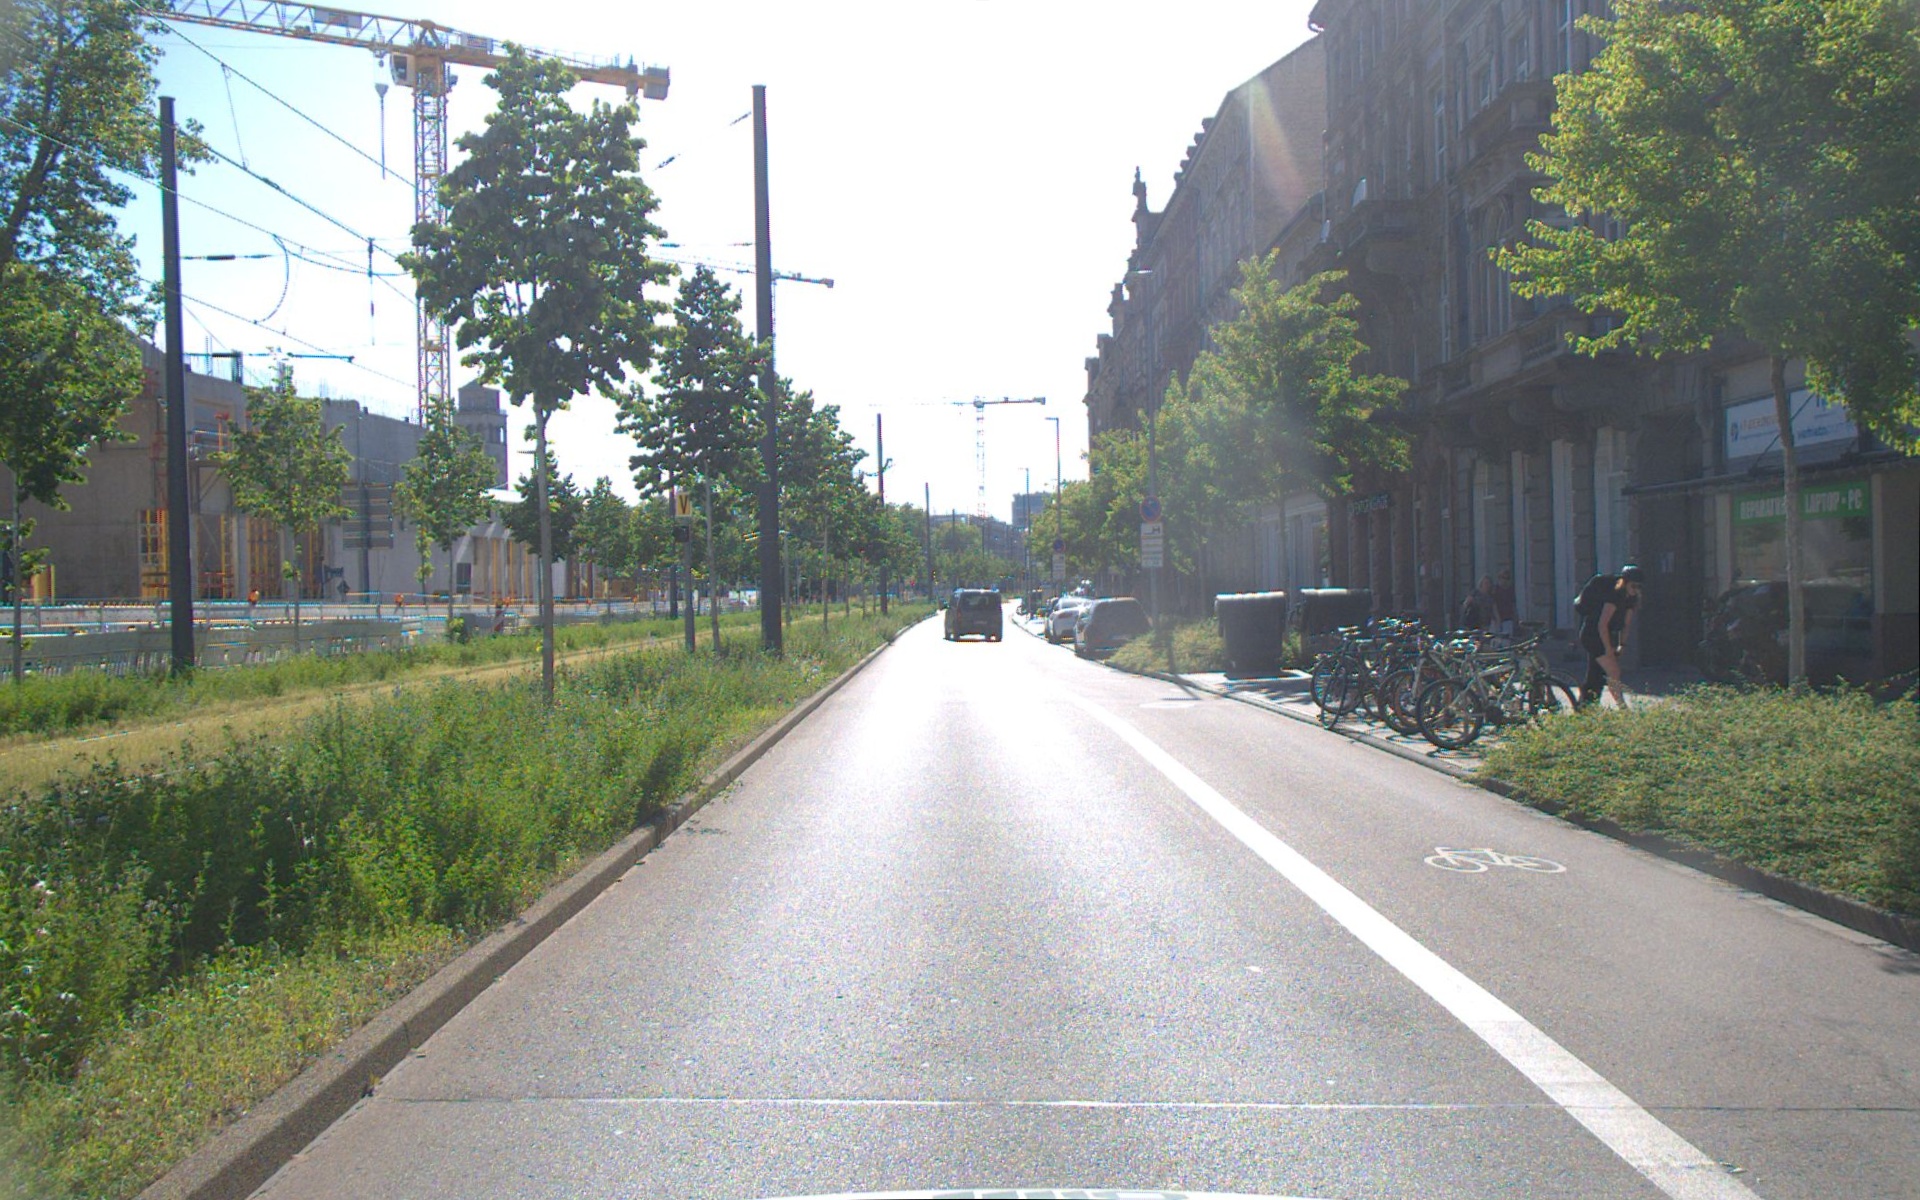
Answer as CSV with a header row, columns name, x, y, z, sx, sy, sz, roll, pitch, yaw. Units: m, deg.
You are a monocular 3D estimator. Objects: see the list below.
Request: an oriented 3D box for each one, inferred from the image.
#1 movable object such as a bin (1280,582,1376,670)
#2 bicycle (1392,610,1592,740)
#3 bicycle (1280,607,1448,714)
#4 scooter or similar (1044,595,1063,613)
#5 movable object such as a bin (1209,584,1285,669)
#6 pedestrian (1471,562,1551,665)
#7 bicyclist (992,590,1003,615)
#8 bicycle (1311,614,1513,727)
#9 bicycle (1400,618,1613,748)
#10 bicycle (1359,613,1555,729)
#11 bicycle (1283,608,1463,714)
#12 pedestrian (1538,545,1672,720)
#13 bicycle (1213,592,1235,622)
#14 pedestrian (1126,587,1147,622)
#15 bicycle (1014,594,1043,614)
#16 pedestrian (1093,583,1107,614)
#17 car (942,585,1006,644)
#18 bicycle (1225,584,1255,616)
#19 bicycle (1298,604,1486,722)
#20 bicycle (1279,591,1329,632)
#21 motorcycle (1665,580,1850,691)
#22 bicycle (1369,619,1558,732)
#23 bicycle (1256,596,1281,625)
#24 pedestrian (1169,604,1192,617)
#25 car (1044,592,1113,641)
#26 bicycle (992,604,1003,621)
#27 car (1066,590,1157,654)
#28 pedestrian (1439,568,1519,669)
name,x,y,z,sx,sy,sz,roll,pitch,yaw
movable object such as a bin,6.923,0.482,31.215,1.345,1.521,1.749,-4,-1,1
bicycle,5.238,0.732,16.311,1.829,1.199,0.373,-2,-1,-3
bicycle,5.070,0.747,20.772,1.937,1.143,0.481,-5,1,-6
scooter or similar,6.279,0.278,111.126,1.194,1.125,0.783,-3,1,2
movable object such as a bin,5.360,0.475,31.021,1.244,1.488,1.645,0,2,4
pedestrian,9.298,0.209,27.938,0.951,1.667,0.992,-2,1,-1
bicyclist,2.444,0.168,108.679,0.669,1.612,0.839,-1,0,-1
bicycle,5.178,0.792,18.937,2.247,1.121,0.484,-3,0,-15
bicycle,5.262,0.789,15.956,1.855,1.128,0.517,-3,0,-6
bicycle,5.332,0.754,17.774,1.938,1.127,0.435,-3,-1,-3
bicycle,5.079,0.741,20.364,2.005,1.126,0.610,-4,0,-7
pedestrian,6.904,0.352,17.718,0.839,1.765,0.892,-5,0,-32
bicycle,10.339,0.271,64.768,0.471,1.109,2.057,-2,0,0
pedestrian,8.881,0.213,83.149,0.975,1.762,0.866,0,-1,-1
bicycle,4.708,0.300,113.968,1.843,1.255,0.499,-4,0,-6
pedestrian,9.321,-0.083,109.966,0.801,2.049,1.046,-1,0,0
car,0.478,0.533,60.280,1.955,2.049,3.996,0,-1,-5
bicycle,10.216,-0.004,60.423,0.706,1.109,2.198,-2,0,0
bicycle,5.036,0.717,19.280,2.111,1.174,0.428,-5,0,-14
bicycle,10.223,0.342,49.288,0.858,1.124,2.180,-4,0,-3
motorcycle,9.926,0.427,20.767,0.848,1.288,2.981,0,-1,-1
bicycle,5.293,0.785,17.429,1.780,1.074,0.571,-3,0,-6
bicycle,10.418,0.353,55.843,0.438,0.961,2.012,-1,0,0
pedestrian,10.280,0.498,77.248,0.757,0.562,2.007,-2,1,-1
car,4.007,0.537,56.594,1.912,1.521,5.104,-3,0,0
bicycle,2.457,0.817,108.583,0.687,1.110,2.277,-1,0,-1
car,3.955,0.587,43.886,1.731,1.502,4.446,-4,0,-3
pedestrian,8.538,0.282,27.253,0.931,1.594,1.080,-2,1,-1
